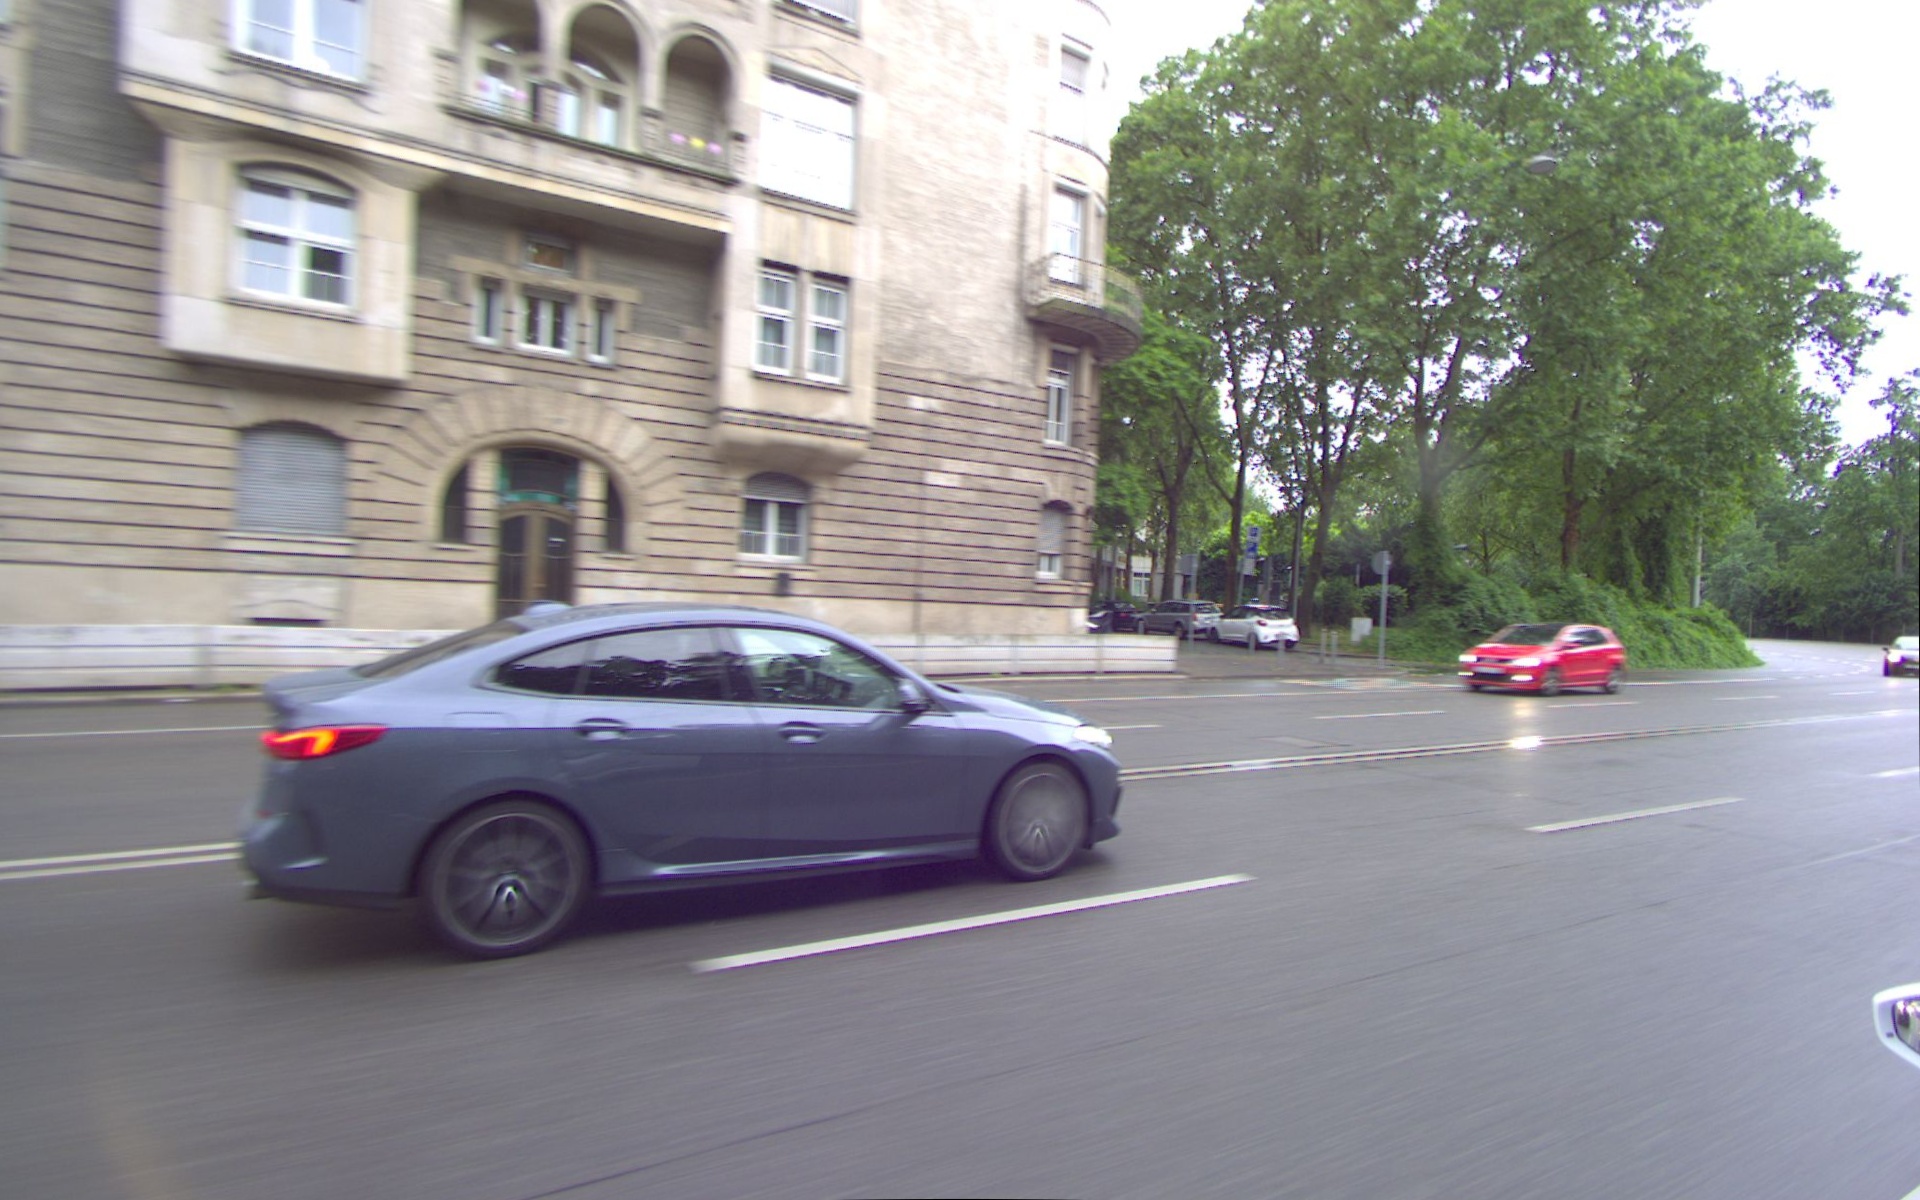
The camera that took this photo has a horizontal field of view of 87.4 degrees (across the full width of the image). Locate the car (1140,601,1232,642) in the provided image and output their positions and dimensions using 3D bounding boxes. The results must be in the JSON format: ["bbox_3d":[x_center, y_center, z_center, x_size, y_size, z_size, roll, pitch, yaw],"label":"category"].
[{"bbox_3d":[8.989,0.833,40.281,1.753,1.532,3.804,0,0,-22],"label":"car"}]

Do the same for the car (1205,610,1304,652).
[{"bbox_3d":[10.619,1.075,36.438,1.752,1.394,3.489,1,0,-20],"label":"car"}]

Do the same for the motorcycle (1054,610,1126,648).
[{"bbox_3d":[4.123,0.933,31.739,2.363,1.156,0.501,2,1,-29],"label":"motorcycle"}]

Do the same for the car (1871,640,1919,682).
[{"bbox_3d":[33.998,2.145,35.465,3.871,1.357,1.692,2,0,-32],"label":"car"}]

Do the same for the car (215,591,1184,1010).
[{"bbox_3d":[-1.057,0.742,5.349,4.488,1.434,1.656,2,0,-31],"label":"car"}]

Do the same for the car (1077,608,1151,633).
[{"bbox_3d":[6.865,0.885,45.201,1.753,1.039,3.487,1,0,-22],"label":"car"}]

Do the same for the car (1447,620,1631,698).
[{"bbox_3d":[12.053,1.191,20.858,3.916,1.433,1.572,2,0,-31],"label":"car"}]
